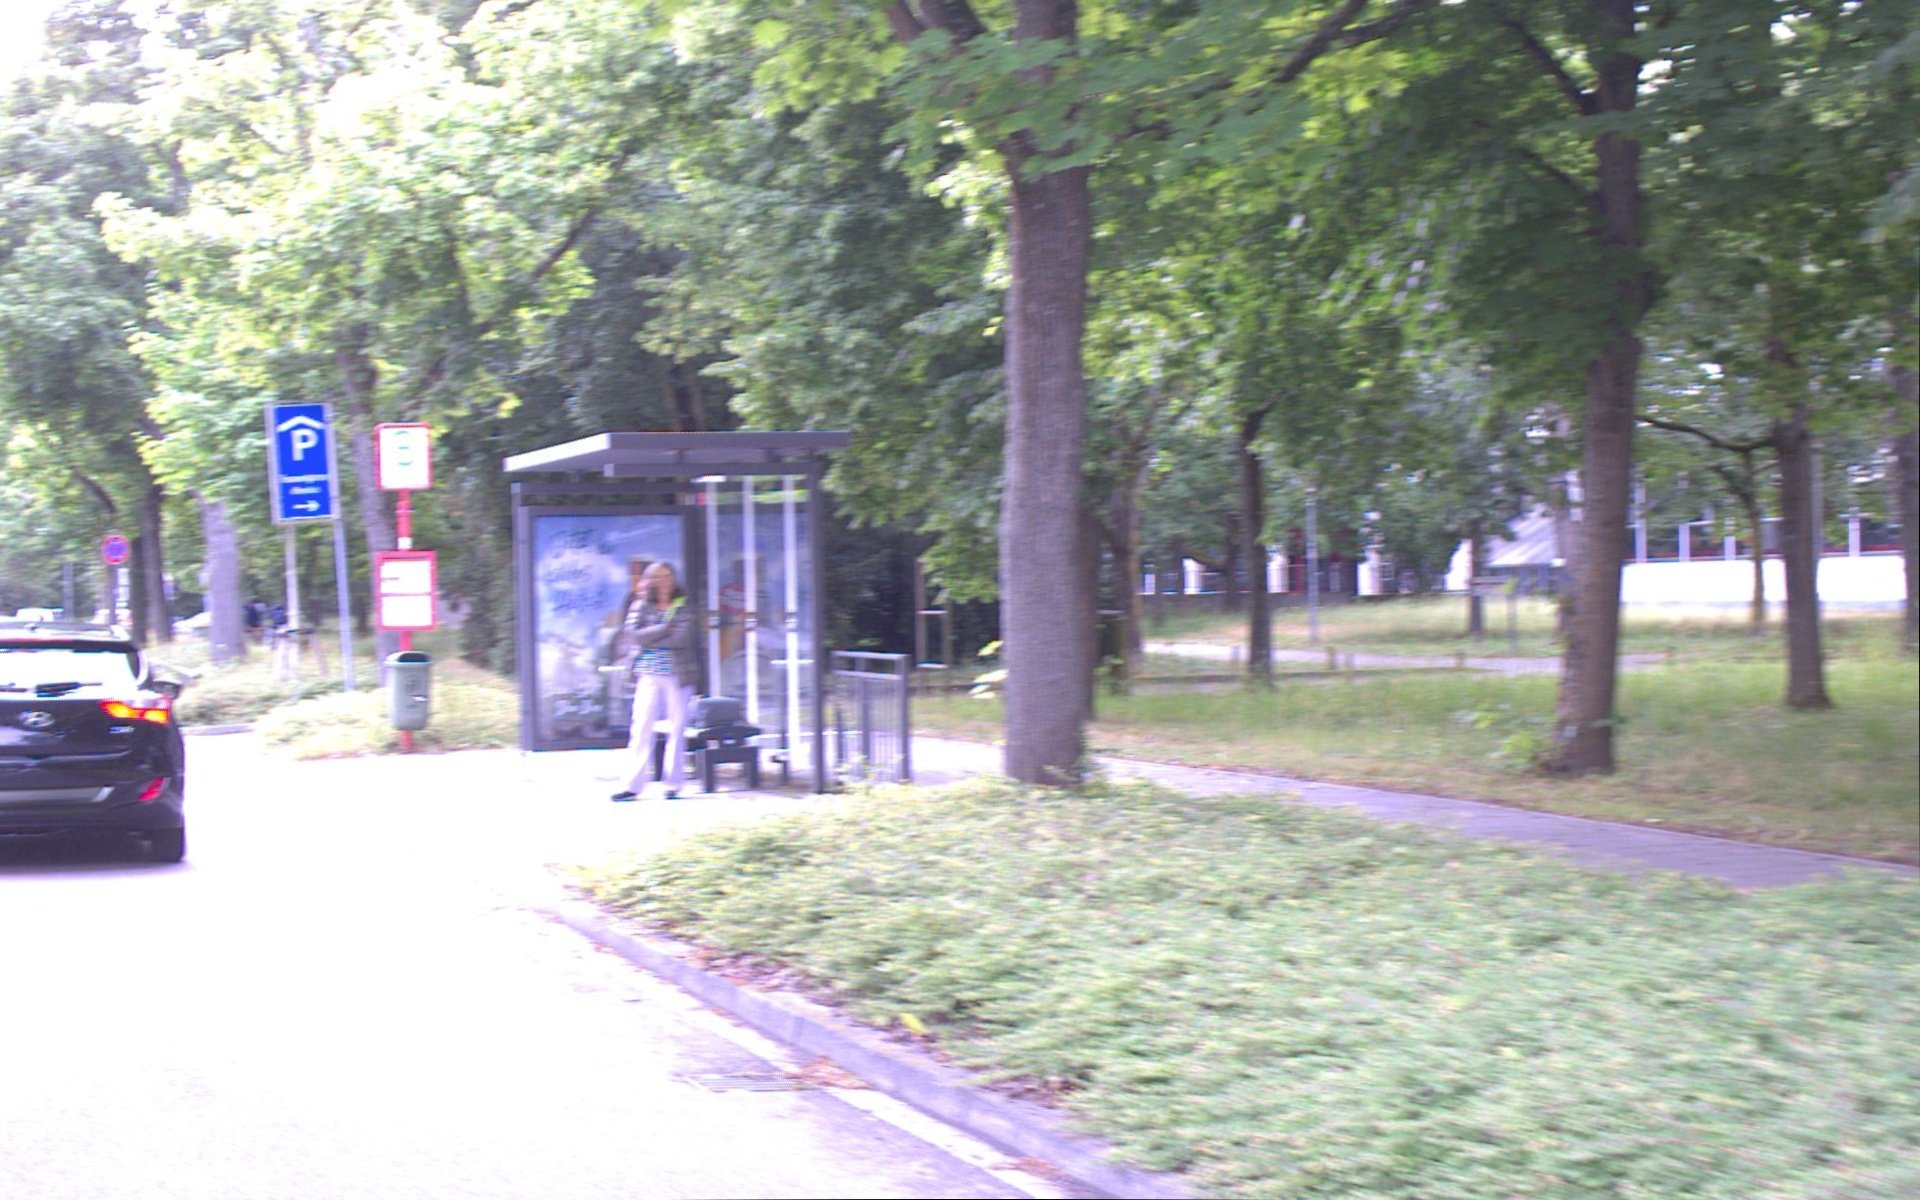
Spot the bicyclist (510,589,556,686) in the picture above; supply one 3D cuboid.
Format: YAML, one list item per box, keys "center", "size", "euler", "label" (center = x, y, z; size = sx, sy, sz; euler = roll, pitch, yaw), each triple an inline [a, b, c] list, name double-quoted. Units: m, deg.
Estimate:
- center: [-6.331, 0.547, 50.952]
  size: [0.596, 1.405, 0.758]
  euler: [-2, 0, -9]
  label: "bicyclist"

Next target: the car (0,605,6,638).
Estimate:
- center: [-44.246, 0.991, 155.591]
  size: [1.993, 1.481, 4.001]
  euler: [-2, 0, -16]
  label: "car"

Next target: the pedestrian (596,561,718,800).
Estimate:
- center: [-2.063, 0.535, 23.363]
  size: [0.653, 1.578, 0.698]
  euler: [-2, 0, -16]
  label: "pedestrian"

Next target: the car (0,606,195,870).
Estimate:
- center: [-5.867, 0.791, 21.362]
  size: [1.845, 1.457, 3.829]
  euler: [-1, 0, -17]
  label: "car"

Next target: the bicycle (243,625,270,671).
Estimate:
- center: [-15.681, 1.059, 76.648]
  size: [0.491, 0.971, 1.944]
  euler: [-2, 0, -10]
  label: "bicycle"

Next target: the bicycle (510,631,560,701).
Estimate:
- center: [-6.286, 0.959, 50.777]
  size: [0.607, 0.971, 1.944]
  euler: [-2, 0, -10]
  label: "bicycle"

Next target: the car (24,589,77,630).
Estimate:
- center: [-46.450, 0.483, 175.534]
  size: [1.993, 2.007, 4.001]
  euler: [-2, 1, -24]
  label: "car"

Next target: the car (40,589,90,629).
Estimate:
- center: [-47.622, 0.478, 182.875]
  size: [1.993, 2.007, 4.001]
  euler: [-2, 1, -23]
  label: "car"

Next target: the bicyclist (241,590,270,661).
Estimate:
- center: [-15.693, 0.561, 76.603]
  size: [0.534, 1.544, 0.758]
  euler: [-2, 0, -9]
  label: "bicyclist"

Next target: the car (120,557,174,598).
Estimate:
- center: [-42.006, -1.151, 177.592]
  size: [1.993, 2.007, 4.001]
  euler: [-2, 0, -24]
  label: "car"
